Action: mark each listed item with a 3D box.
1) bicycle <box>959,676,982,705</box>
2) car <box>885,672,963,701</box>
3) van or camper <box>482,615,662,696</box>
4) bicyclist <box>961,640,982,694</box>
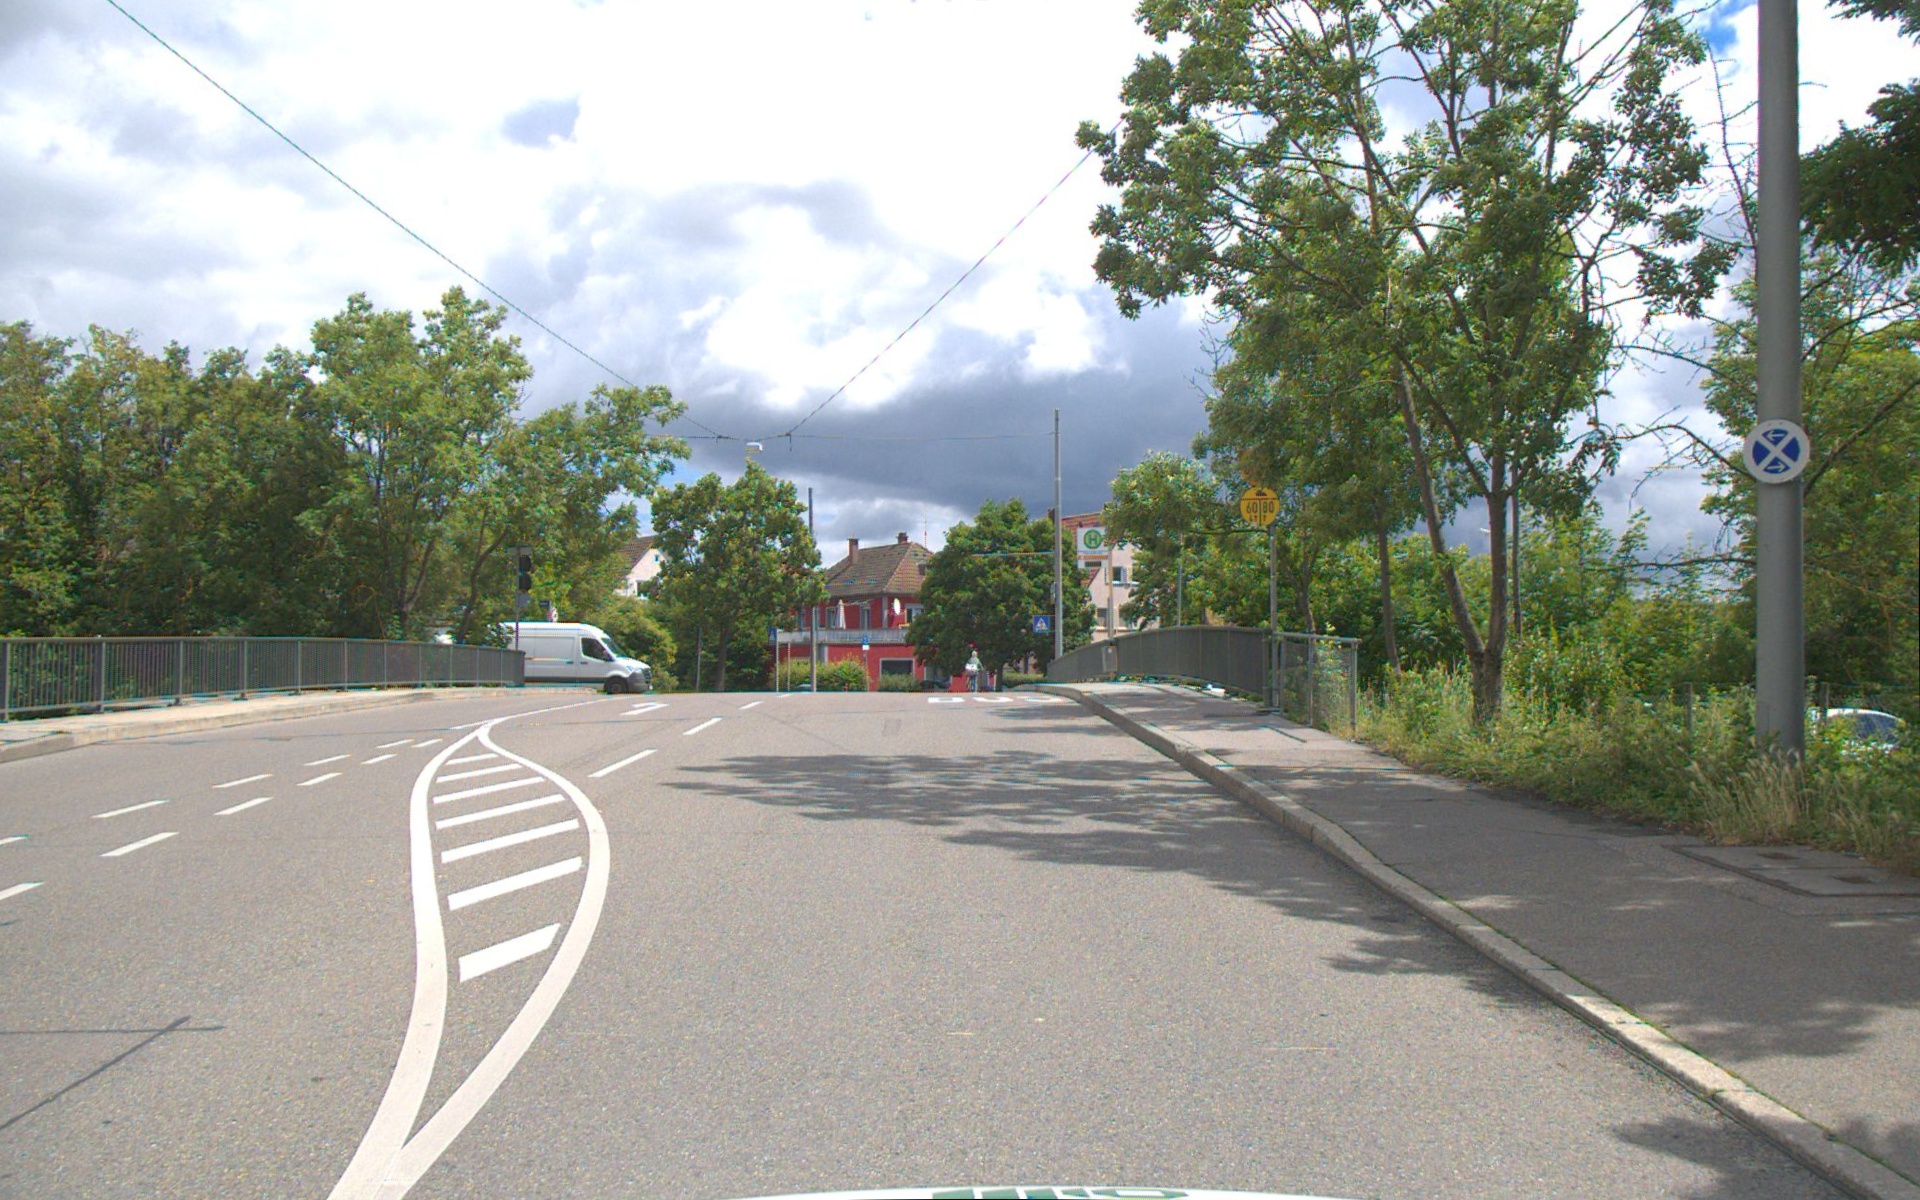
[{"bbox_3d":[0.394,3.233,59.080,0.673,0.894,2.102,0,-6,4],"label":"bicycle"},{"bbox_3d":[-1.944,4.724,90.275,4.029,1.451,1.626,4,-4,-34],"label":"car"},{"bbox_3d":[-13.562,1.970,58.027,5.787,2.612,2.193,-1,-5,1],"label":"van or camper"},{"bbox_3d":[0.403,2.422,59.210,0.670,1.858,1.080,0,-6,4],"label":"bicyclist"}]
